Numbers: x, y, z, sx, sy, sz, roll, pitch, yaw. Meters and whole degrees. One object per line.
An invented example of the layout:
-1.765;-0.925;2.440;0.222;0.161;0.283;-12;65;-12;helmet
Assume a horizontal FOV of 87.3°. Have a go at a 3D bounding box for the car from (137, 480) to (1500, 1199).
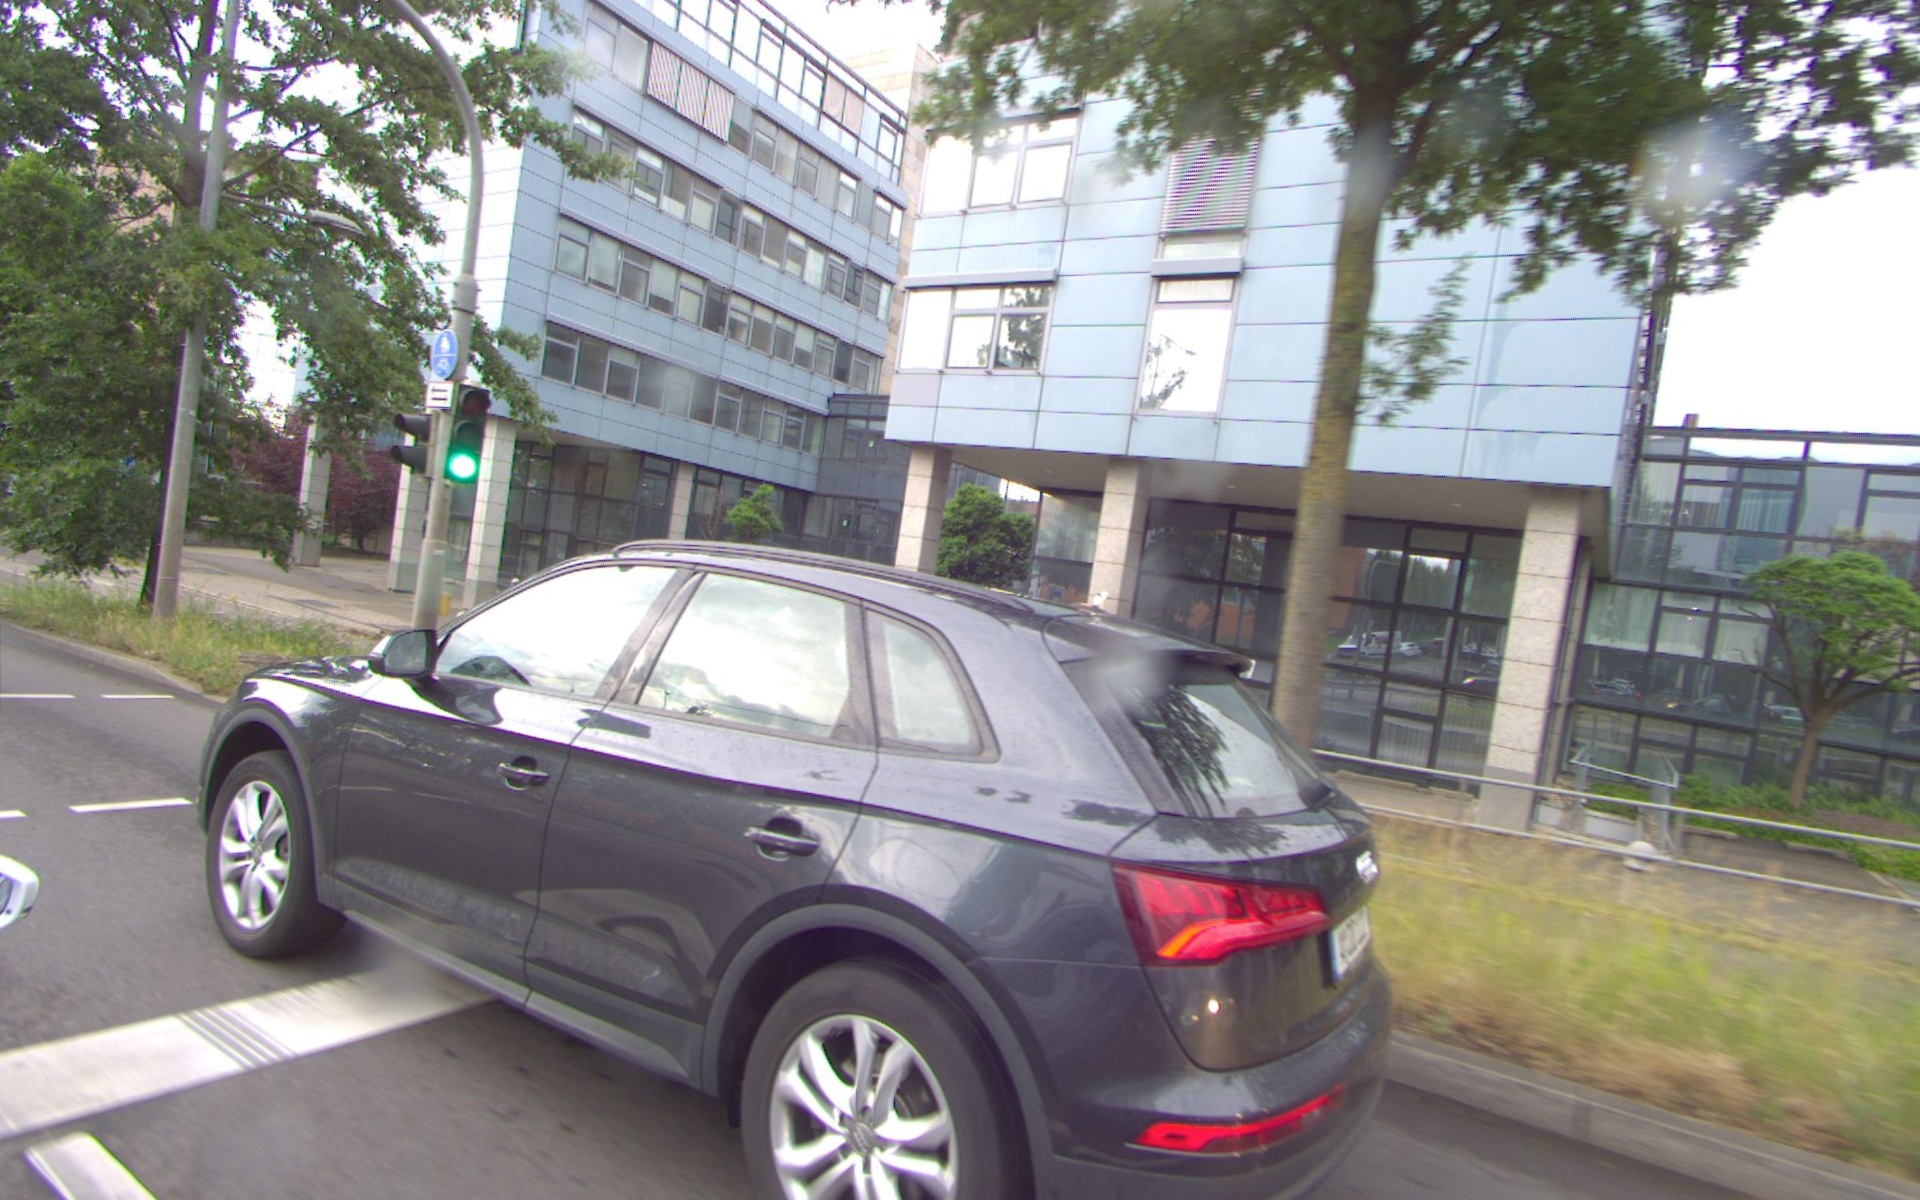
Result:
-0.743;0.636;3.489;4.396;1.632;1.821;6;-1;32;car
